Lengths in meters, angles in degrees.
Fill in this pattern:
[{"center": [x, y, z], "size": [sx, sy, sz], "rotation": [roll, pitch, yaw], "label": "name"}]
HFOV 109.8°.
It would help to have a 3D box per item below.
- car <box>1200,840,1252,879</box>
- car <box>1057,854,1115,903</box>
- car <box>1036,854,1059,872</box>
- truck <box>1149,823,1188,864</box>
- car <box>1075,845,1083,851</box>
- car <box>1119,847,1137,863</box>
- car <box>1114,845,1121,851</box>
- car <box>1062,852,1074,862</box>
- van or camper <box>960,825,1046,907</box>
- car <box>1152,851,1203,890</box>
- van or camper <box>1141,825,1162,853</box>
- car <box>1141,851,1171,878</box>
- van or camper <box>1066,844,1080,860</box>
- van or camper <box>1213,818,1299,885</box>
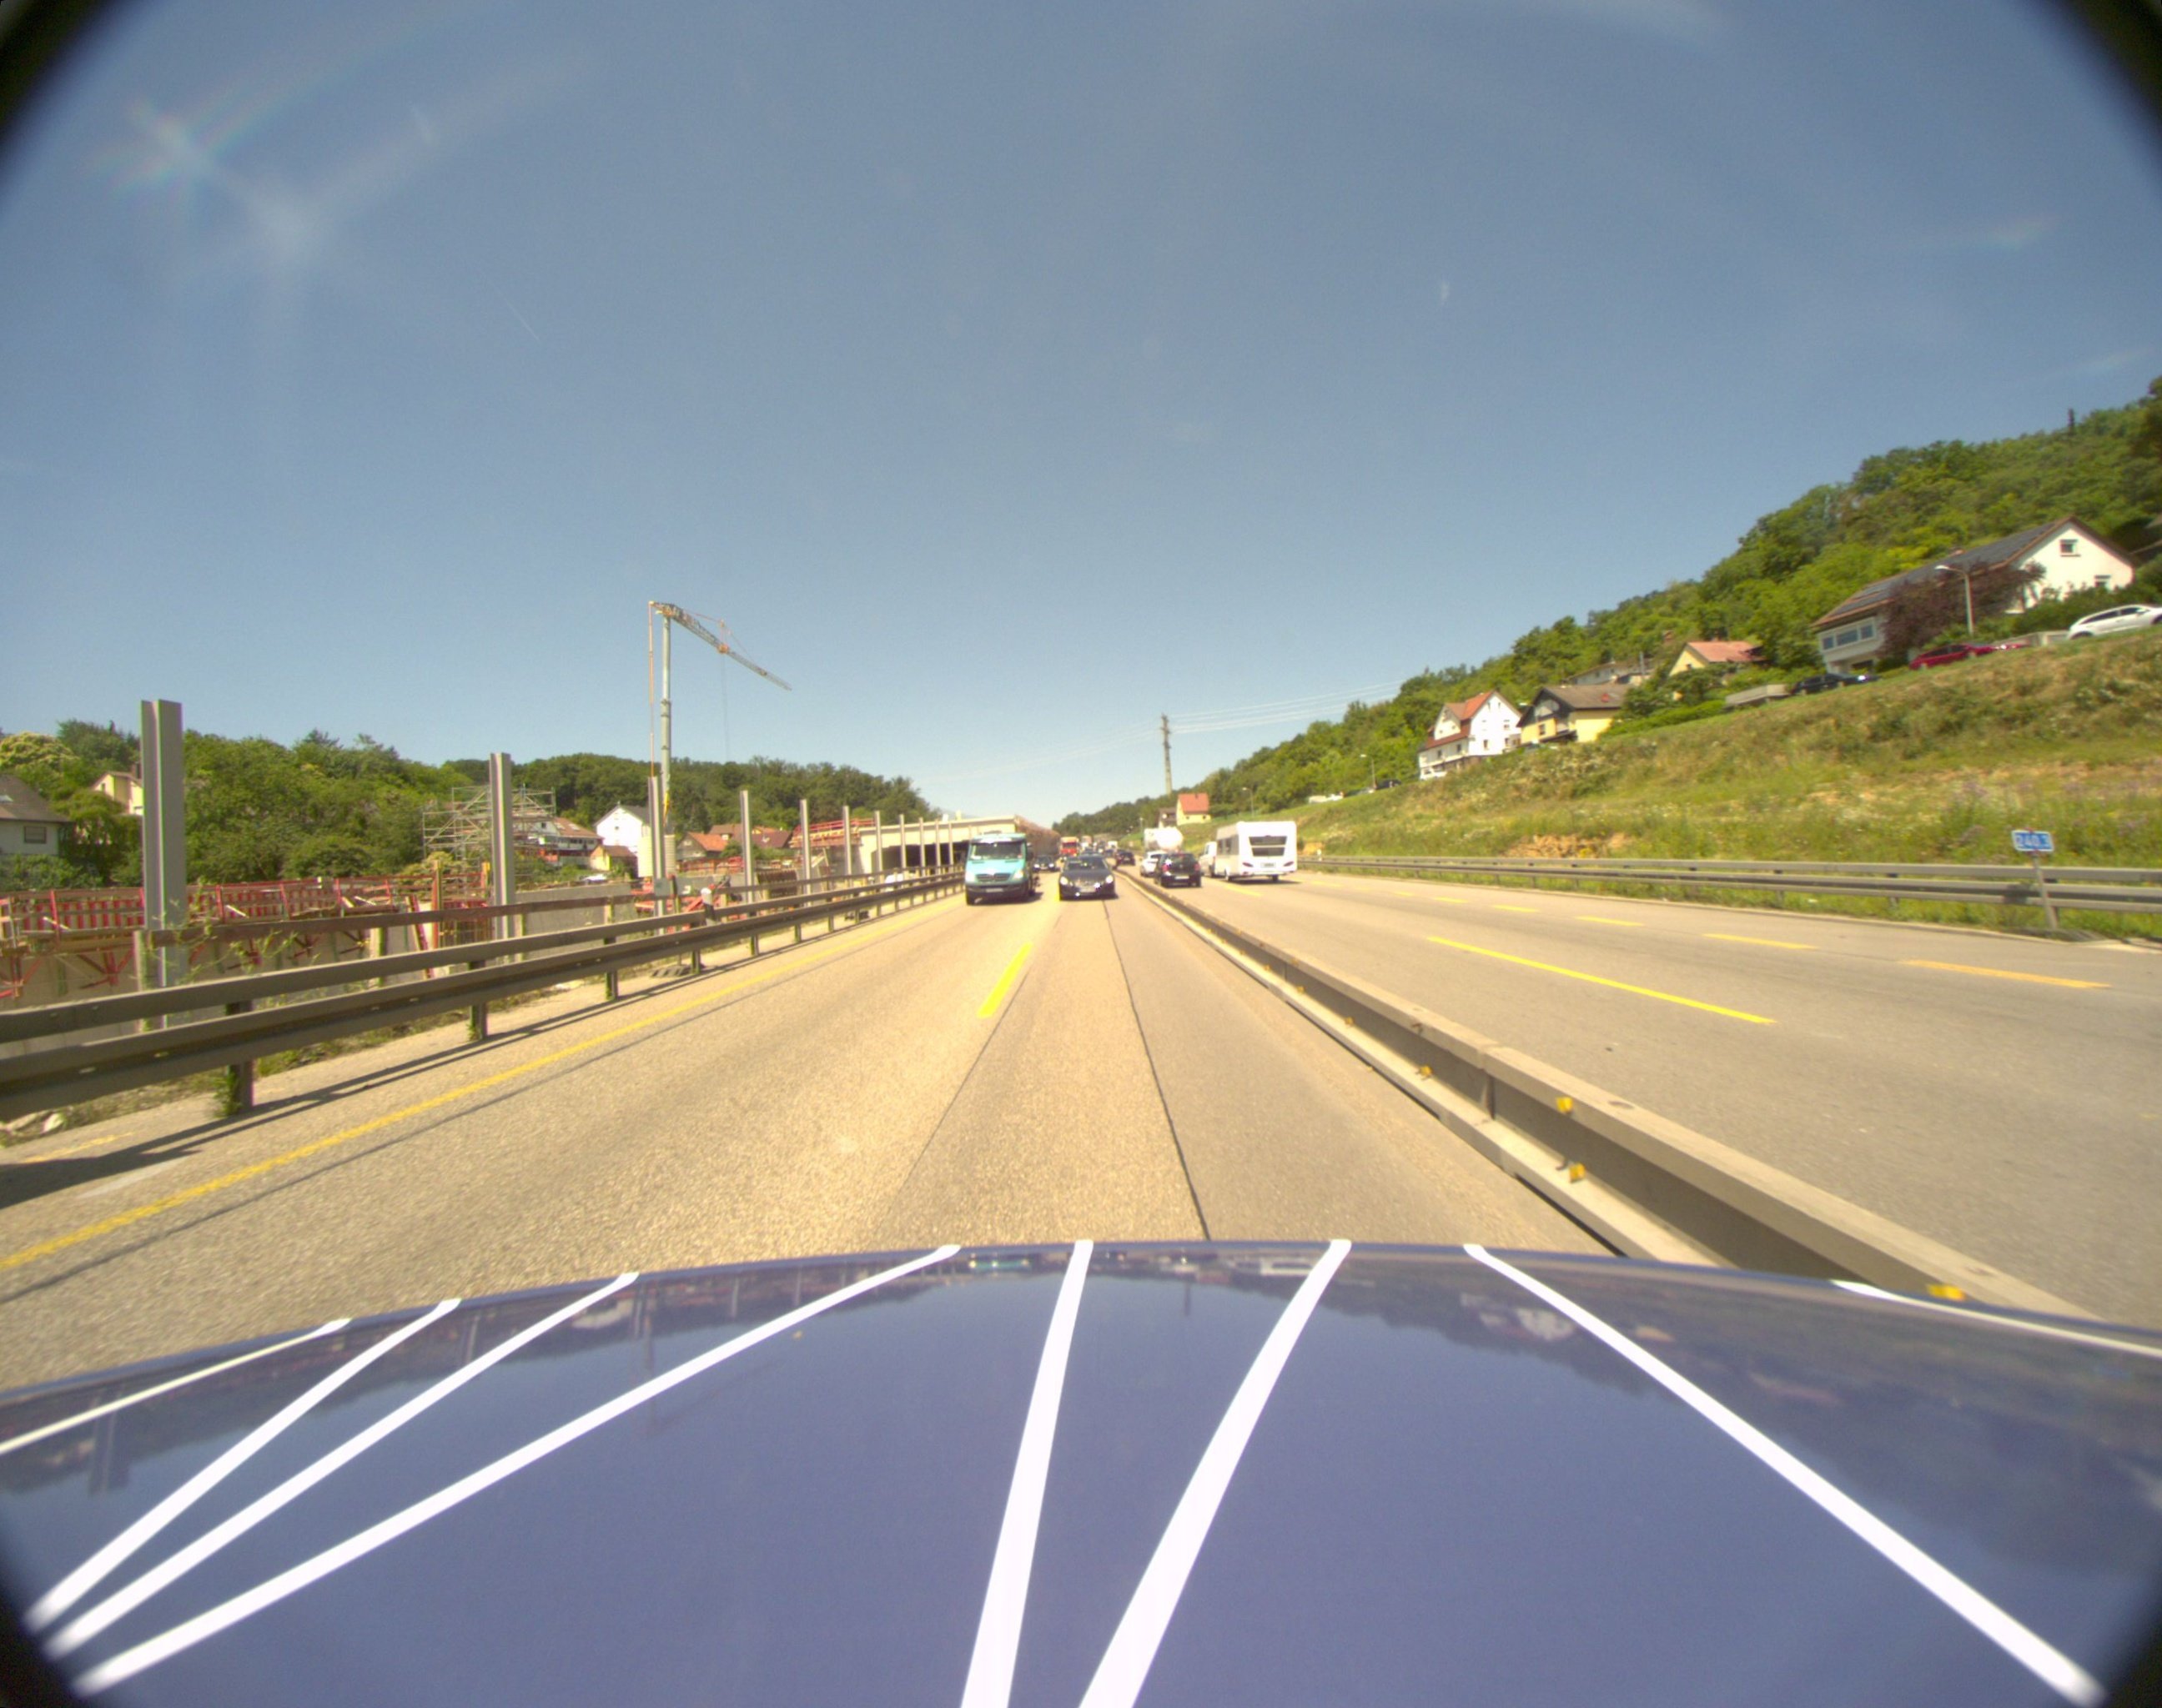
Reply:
[{"center": [7.533, 0.262, 39.800], "size": [1.998, 1.809, 3.665], "rotation": [-4, 0, 1], "label": "car"}, {"center": [0.178, 0.765, 25.584], "size": [1.746, 1.420, 4.000], "rotation": [-2, 0, 1], "label": "car"}, {"center": [-2.773, 0.701, 62.779], "size": [1.611, 1.324, 3.496], "rotation": [-4, 0, 1], "label": "car"}, {"center": [7.974, -0.968, 70.169], "size": [2.385, 3.412, 9.305], "rotation": [-4, 0, 1], "label": "truck"}, {"center": [-0.545, -1.333, 173.795], "size": [1.679, 1.346, 3.486], "rotation": [-4, 0, 1], "label": "car"}, {"center": [4.670, 0.078, 75.775], "size": [1.601, 1.499, 3.161], "rotation": [-4, 0, 1], "label": "car"}, {"center": [10.032, -1.660, 211.100], "size": [1.780, 1.740, 3.708], "rotation": [-2, 1, 1], "label": "car"}, {"center": [-2.011, 0.423, 118.105], "size": [1.679, 1.346, 3.486], "rotation": [-4, 0, 1], "label": "car"}, {"center": [-2.561, 0.343, 27.094], "size": [2.097, 2.458, 7.670], "rotation": [-2, 0, 1], "label": "van or camper"}, {"center": [3.865, 0.629, 30.755], "size": [1.660, 1.420, 3.175], "rotation": [-2, 0, 1], "label": "car"}, {"center": [7.389, -1.526, 80.154], "size": [1.566, 2.745, 5.181], "rotation": [-4, 1, 1], "label": "van or camper"}, {"center": [4.185, 0.556, 42.928], "size": [1.369, 1.420, 3.175], "rotation": [-2, 0, 1], "label": "car"}, {"center": [-1.437, -0.367, 135.705], "size": [2.321, 2.513, 4.527], "rotation": [-4, 1, 1], "label": "van or camper"}, {"center": [7.511, -0.122, 33.258], "size": [2.382, 2.634, 6.051], "rotation": [-2, 0, 1], "label": "van or camper"}]
